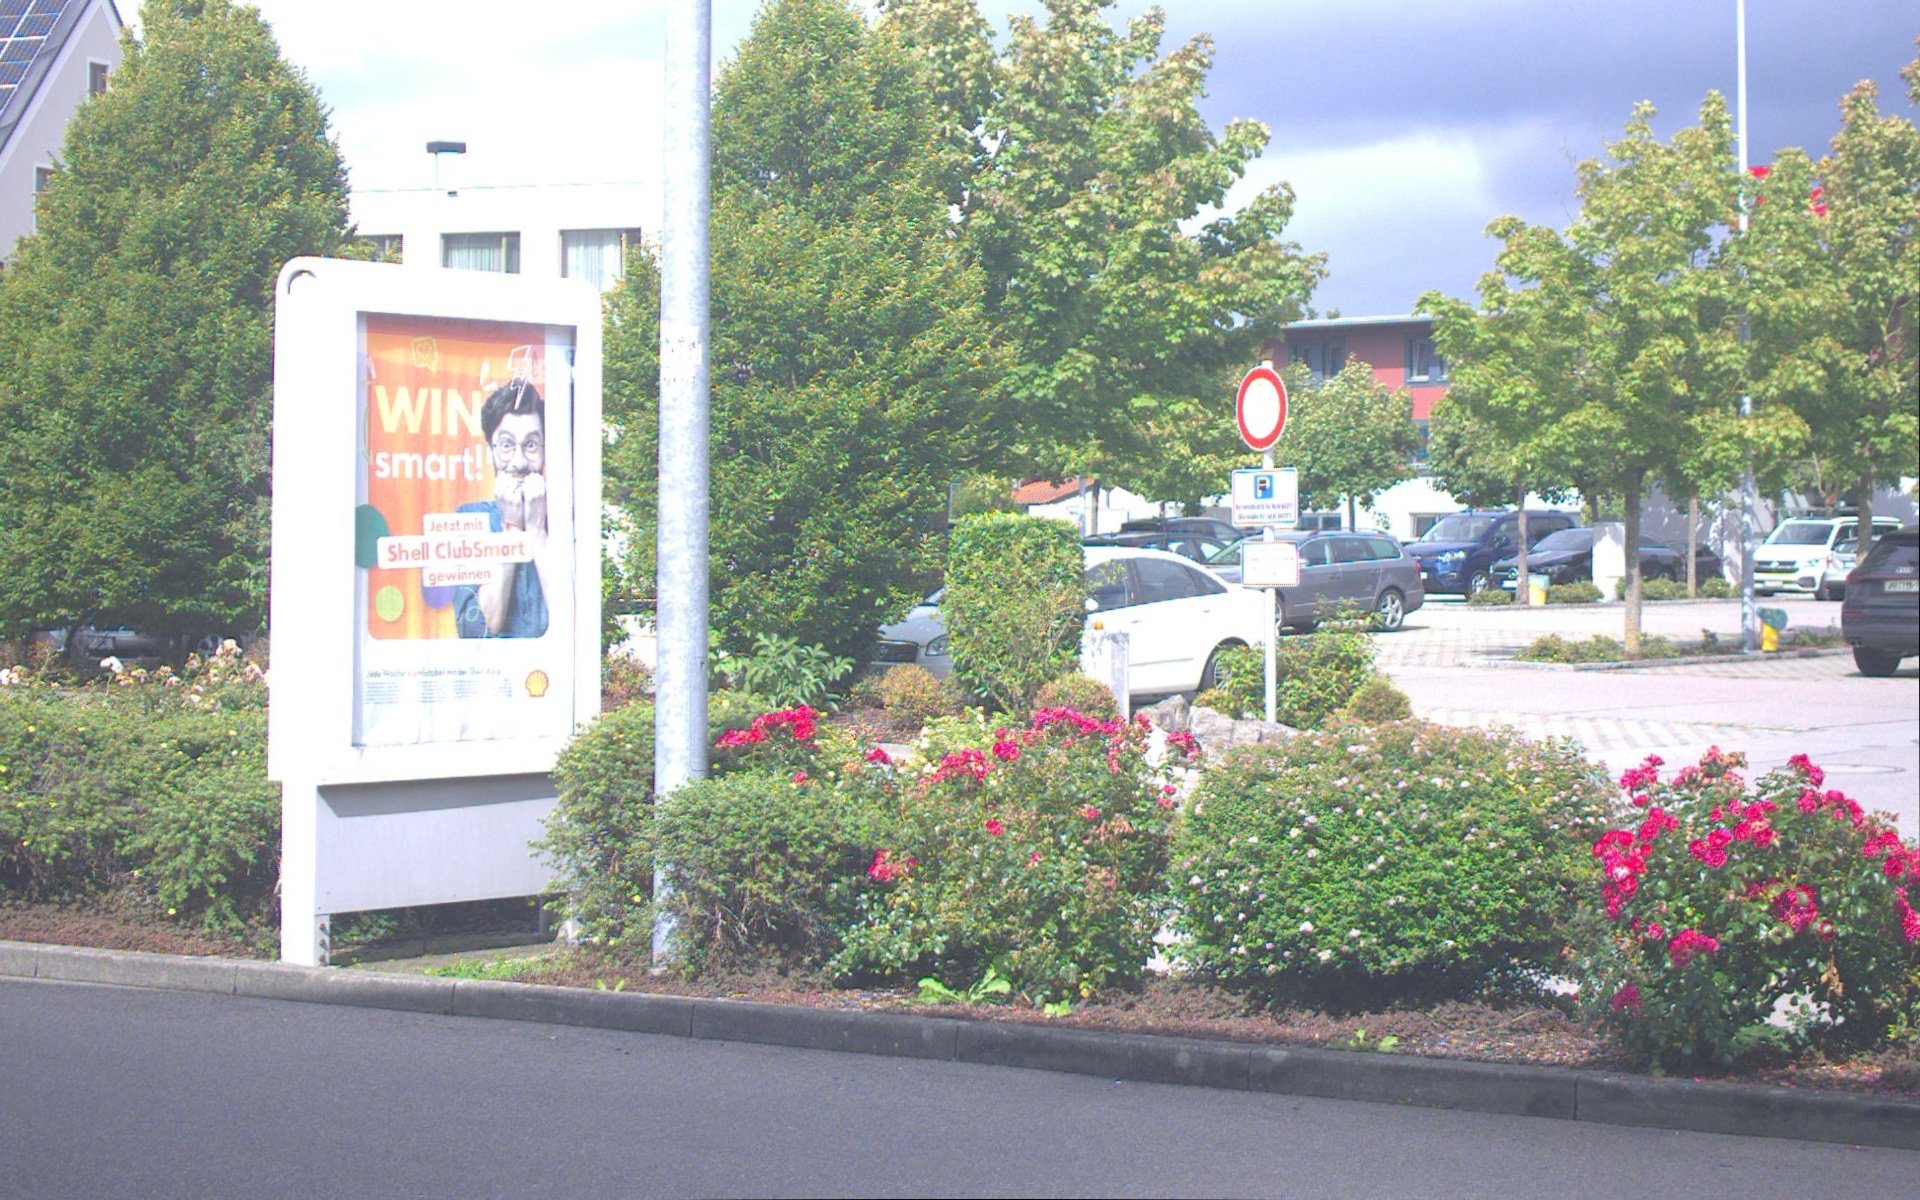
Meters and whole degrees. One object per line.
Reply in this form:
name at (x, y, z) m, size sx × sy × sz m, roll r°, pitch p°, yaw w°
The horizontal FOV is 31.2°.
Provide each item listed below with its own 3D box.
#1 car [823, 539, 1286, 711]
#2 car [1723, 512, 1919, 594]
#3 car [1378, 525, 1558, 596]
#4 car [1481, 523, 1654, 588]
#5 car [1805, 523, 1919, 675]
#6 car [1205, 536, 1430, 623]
car at (0.889, 0.201, 29.915) m, size 4.332 × 1.399 × 1.370 m, roll 0°, pitch 1°, yaw -44°
car at (20.237, -1.089, 80.628) m, size 4.864 × 1.827 × 2.184 m, roll 0°, pitch 1°, yaw -43°
car at (9.874, -0.761, 66.771) m, size 3.379 × 1.316 × 1.747 m, roll 0°, pitch 1°, yaw -44°
car at (11.503, -0.842, 65.023) m, size 3.409 × 1.174 × 1.485 m, roll 0°, pitch 1°, yaw -44°
car at (11.118, -0.010, 36.718) m, size 4.491 × 1.543 × 1.885 m, roll 0°, pitch 1°, yaw -43°
car at (5.188, -0.292, 49.704) m, size 3.218 × 1.224 × 1.505 m, roll 0°, pitch 1°, yaw -44°
